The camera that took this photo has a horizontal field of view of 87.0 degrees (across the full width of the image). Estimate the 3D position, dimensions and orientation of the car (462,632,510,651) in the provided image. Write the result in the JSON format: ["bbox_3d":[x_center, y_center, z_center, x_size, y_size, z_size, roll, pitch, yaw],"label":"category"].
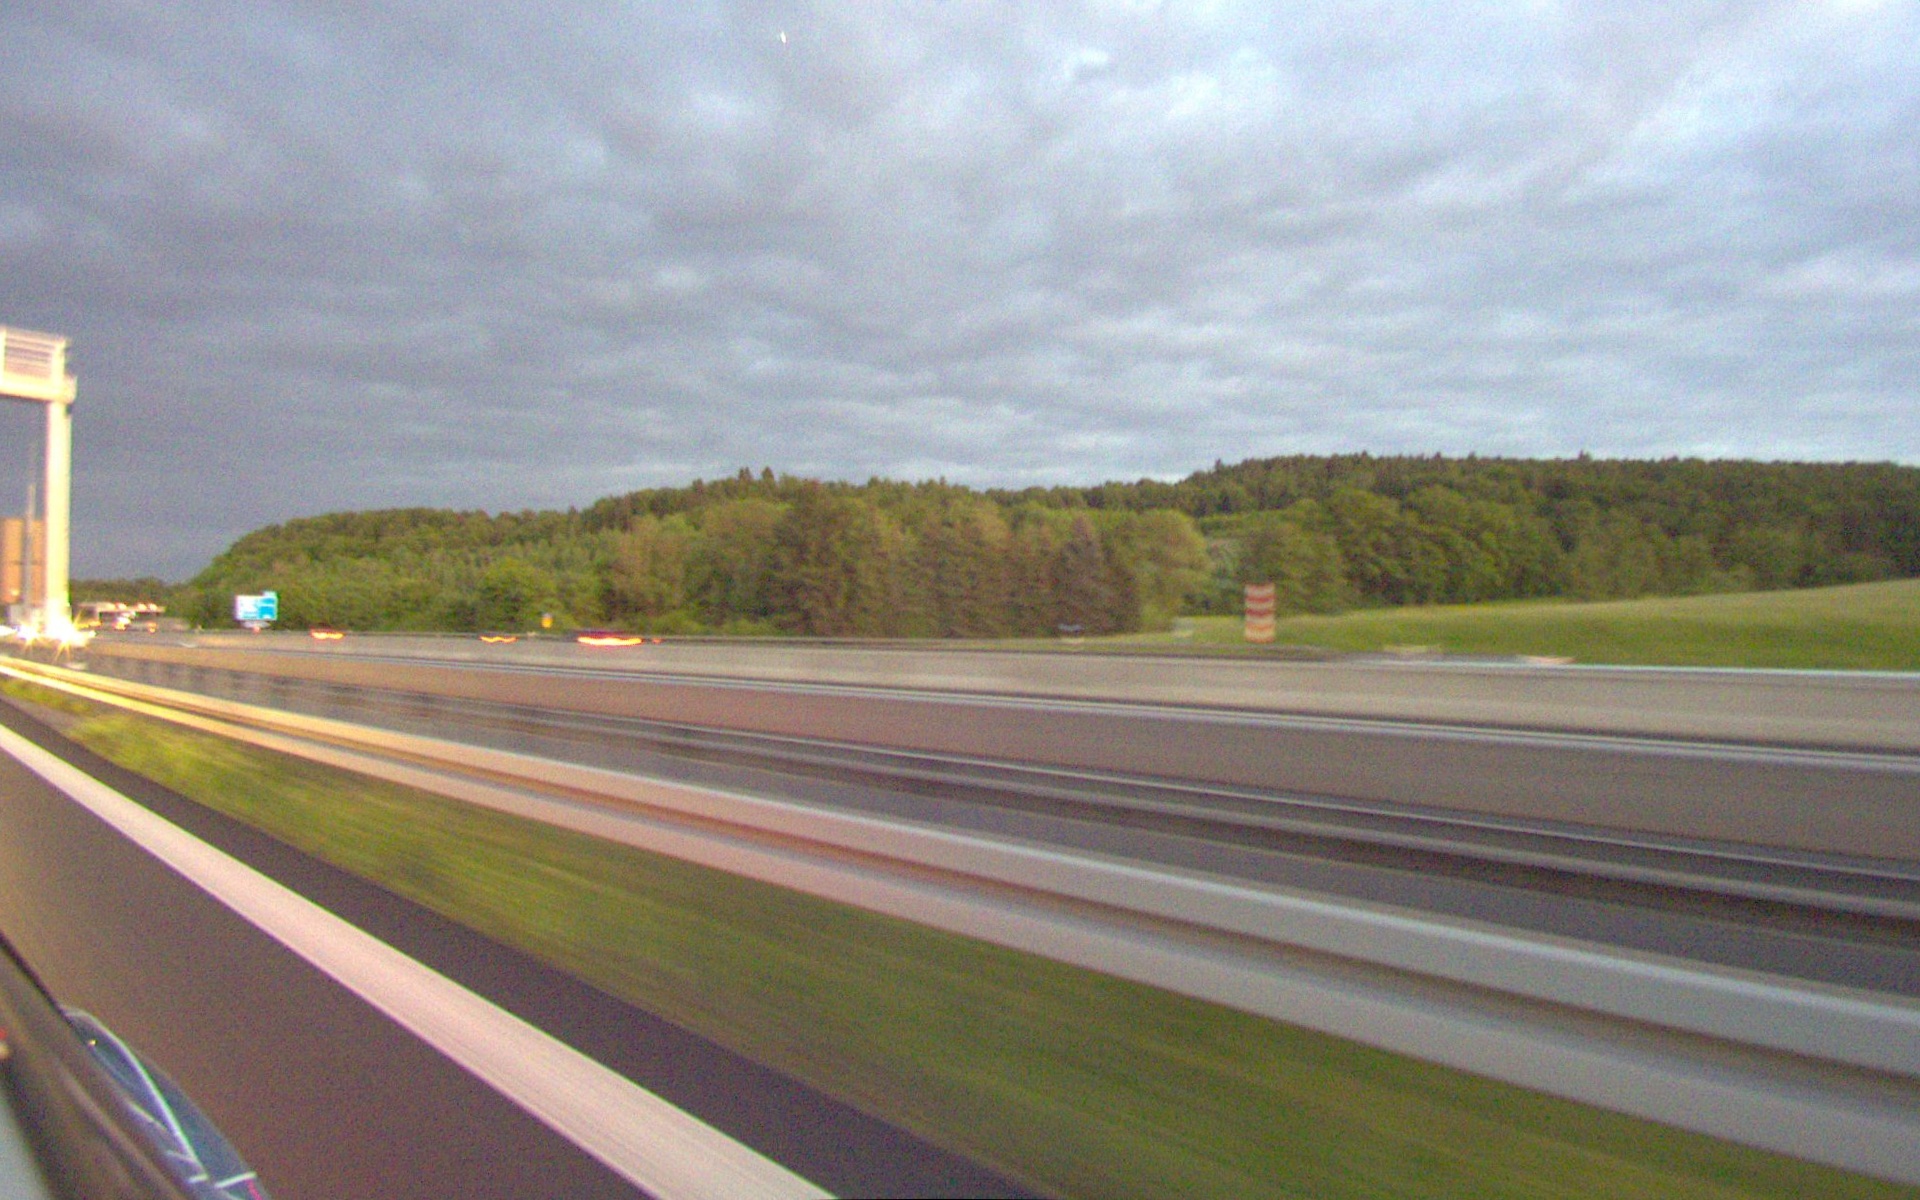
[{"bbox_3d":[-35.305,3.104,75.374,3.889,1.329,1.750,-1,-2,39],"label":"car"}]

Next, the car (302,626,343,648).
[{"bbox_3d":[-60.092,3.485,95.440,4.731,2.029,1.972,-1,-2,41],"label":"car"}]

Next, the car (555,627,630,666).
[{"bbox_3d":[-17.160,2.146,47.189,3.750,1.719,1.665,-1,-2,41],"label":"car"}]

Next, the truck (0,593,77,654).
[{"bbox_3d":[-68.961,1.763,75.636,9.886,4.334,3.006,-1,-2,41],"label":"truck"}]

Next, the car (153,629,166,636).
[{"bbox_3d":[-164.471,6.736,208.031,1.814,1.454,4.472,2,-3,-42],"label":"car"}]
